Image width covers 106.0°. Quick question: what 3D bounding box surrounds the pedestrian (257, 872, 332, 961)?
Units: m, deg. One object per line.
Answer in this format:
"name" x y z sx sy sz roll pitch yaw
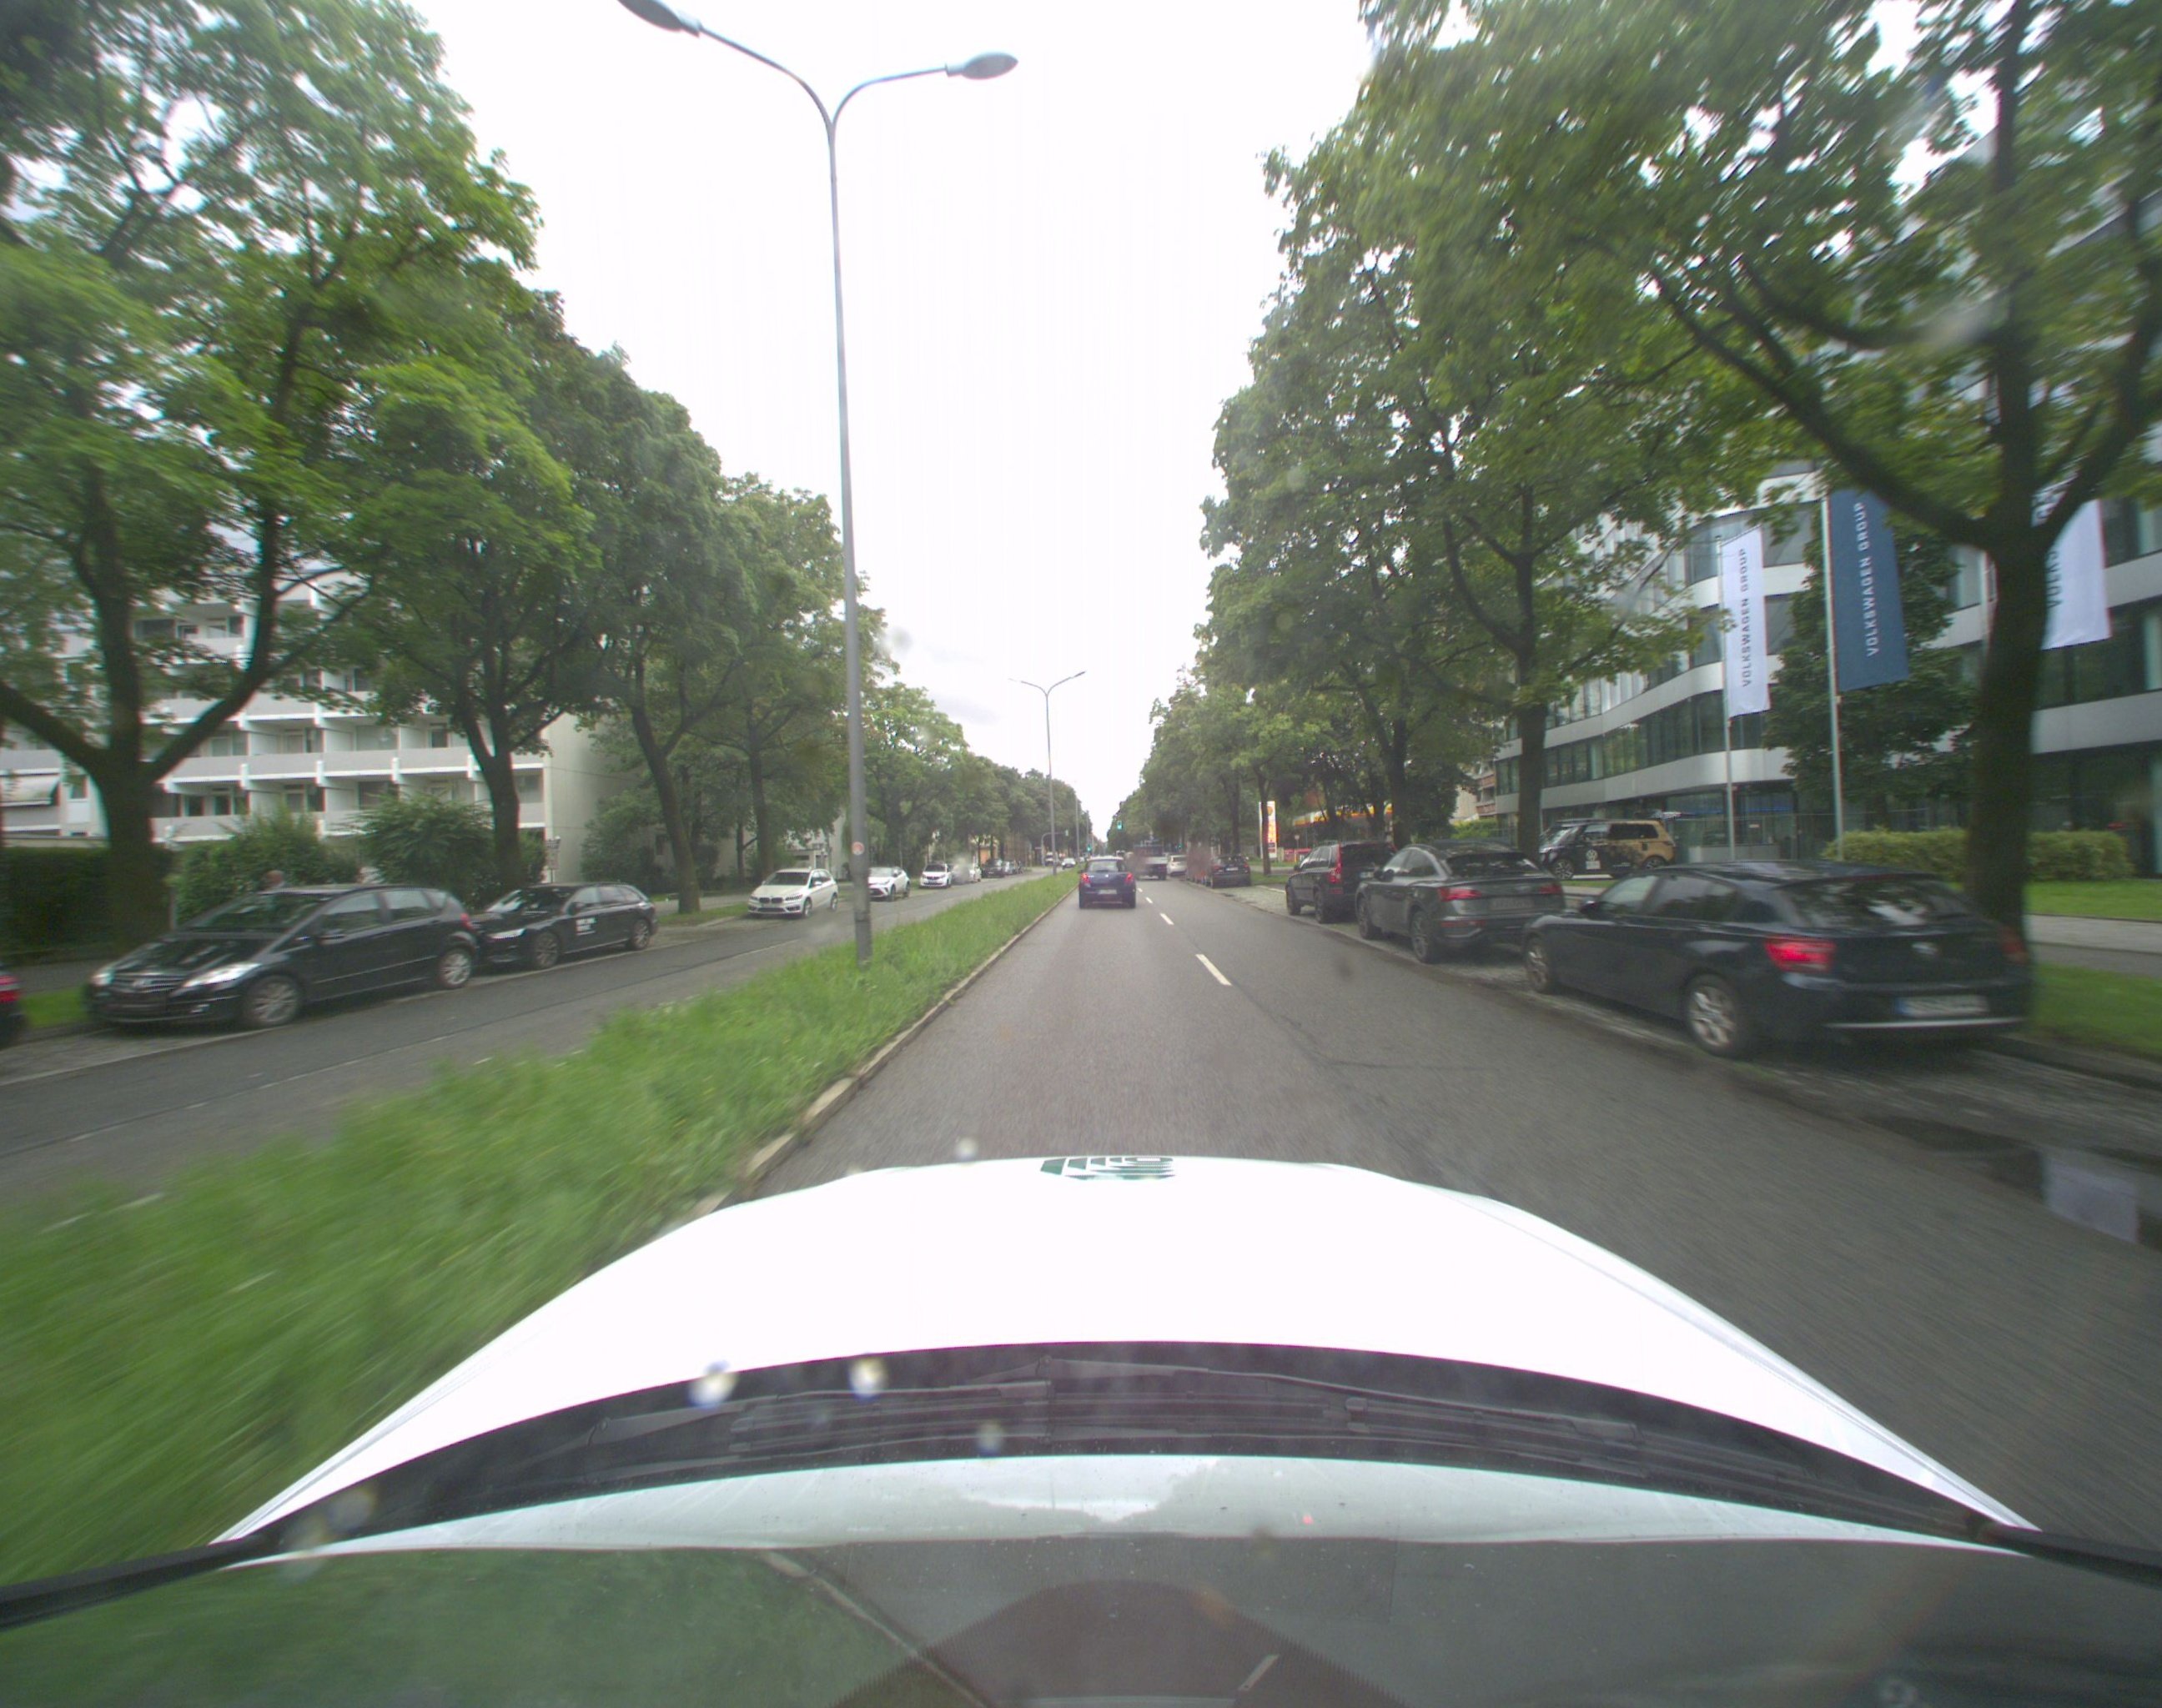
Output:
"pedestrian" -15.286 1.198 15.836 0.844 1.656 0.610 -2 0 7

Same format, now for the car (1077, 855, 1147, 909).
"car" 0.868 0.799 24.993 1.891 1.499 3.658 -2 0 -1

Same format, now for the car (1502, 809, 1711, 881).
"car" 17.248 -0.292 26.944 5.451 2.083 2.147 -2 0 1

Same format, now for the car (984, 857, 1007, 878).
"car" -7.780 1.227 74.408 1.791 1.763 5.054 1 0 -2

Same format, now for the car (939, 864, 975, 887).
"car" -8.437 1.451 55.834 1.668 1.475 4.217 1 0 2

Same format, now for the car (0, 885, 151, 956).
"car" -23.956 1.499 18.262 3.964 1.418 1.862 -2 0 0

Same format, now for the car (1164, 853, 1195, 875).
"car" 7.374 0.710 61.287 1.754 1.453 4.634 -4 0 2

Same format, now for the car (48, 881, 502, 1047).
"car" -10.051 1.234 10.745 1.679 1.597 4.213 0 0 2

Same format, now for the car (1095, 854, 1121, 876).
"car" 1.948 0.785 59.156 1.792 1.499 3.662 -2 0 2

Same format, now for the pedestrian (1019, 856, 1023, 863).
"pedestrian" -11.860 1.111 161.047 0.627 1.440 0.806 0 -1 1

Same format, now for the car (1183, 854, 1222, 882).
"car" 6.961 0.773 47.039 1.669 1.453 4.584 -4 0 2

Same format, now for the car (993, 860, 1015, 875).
"car" -7.640 1.331 81.360 1.660 1.445 4.377 1 0 2

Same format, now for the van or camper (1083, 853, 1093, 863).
"van or camper" 1.517 0.881 180.985 2.016 2.260 6.023 -3 0 1

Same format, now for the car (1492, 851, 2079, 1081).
"car" 5.637 0.723 7.480 1.694 1.408 4.518 -3 0 4

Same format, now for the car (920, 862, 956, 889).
"car" -8.825 1.327 50.414 1.685 1.565 3.079 1 0 0

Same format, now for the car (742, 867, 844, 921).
"car" -9.544 1.272 27.392 1.751 1.595 4.490 0 0 1

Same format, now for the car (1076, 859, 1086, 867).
"car" -0.033 1.634 155.255 1.732 1.442 4.102 -3 0 0

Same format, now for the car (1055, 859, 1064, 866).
"car" -4.459 1.757 169.478 1.630 1.442 3.736 -3 0 2

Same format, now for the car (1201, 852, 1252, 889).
"car" 6.747 0.736 38.152 1.772 1.511 4.289 -4 0 4

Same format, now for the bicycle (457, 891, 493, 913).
"bicycle" -27.099 2.139 36.424 0.456 0.900 1.451 -2 0 2

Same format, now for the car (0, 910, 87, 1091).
"car" -10.291 1.288 5.155 1.710 1.524 5.036 1 0 1

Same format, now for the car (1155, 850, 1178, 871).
"car" 8.070 0.633 76.953 1.754 1.830 4.530 -4 0 2

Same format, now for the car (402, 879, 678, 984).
"car" -9.878 1.317 15.497 1.753 1.513 4.951 0 0 2

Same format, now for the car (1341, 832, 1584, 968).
"car" 5.670 0.594 12.883 1.805 1.675 4.805 -3 0 4

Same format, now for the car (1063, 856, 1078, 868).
"car" -1.395 1.022 107.747 1.732 1.440 4.217 -3 0 2

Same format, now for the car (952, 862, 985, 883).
"car" -8.381 1.387 60.933 1.668 1.443 4.322 1 0 2

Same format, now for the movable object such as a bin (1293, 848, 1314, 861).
"movable object such as a bin" 27.837 0.064 102.008 2.053 1.486 1.838 -2 0 2

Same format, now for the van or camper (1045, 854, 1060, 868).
"van or camper" -5.252 1.255 149.279 2.132 2.476 6.262 -3 0 2

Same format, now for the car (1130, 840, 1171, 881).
"car" 4.364 0.375 51.952 2.408 2.444 5.091 -1 0 3

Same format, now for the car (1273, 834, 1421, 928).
"car" 5.960 0.545 18.916 1.886 1.800 4.863 -3 0 2

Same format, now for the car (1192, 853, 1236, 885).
"car" 6.887 0.761 42.614 1.669 1.501 4.023 -4 0 2

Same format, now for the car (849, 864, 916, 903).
"car" -9.047 1.311 37.500 1.825 1.609 4.494 0 0 2
